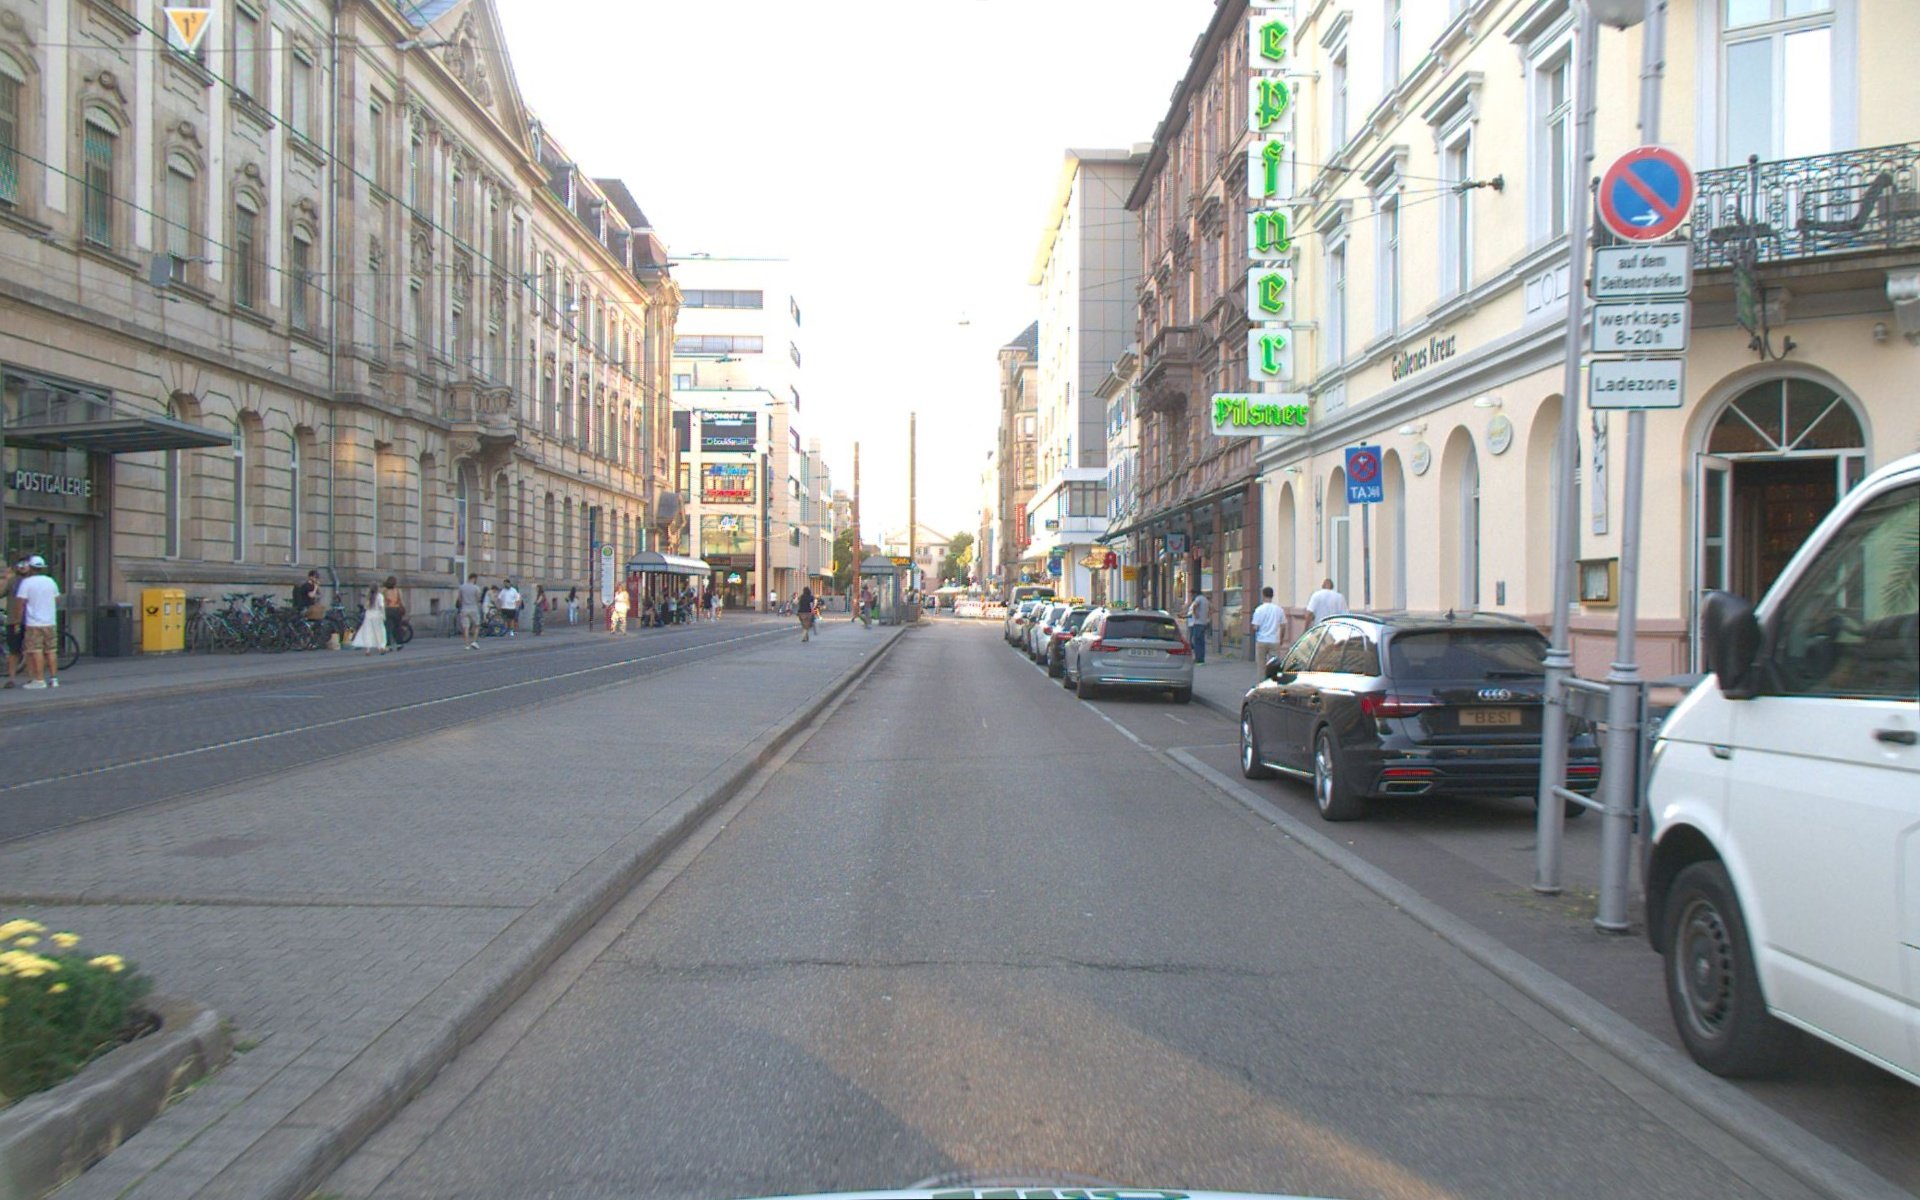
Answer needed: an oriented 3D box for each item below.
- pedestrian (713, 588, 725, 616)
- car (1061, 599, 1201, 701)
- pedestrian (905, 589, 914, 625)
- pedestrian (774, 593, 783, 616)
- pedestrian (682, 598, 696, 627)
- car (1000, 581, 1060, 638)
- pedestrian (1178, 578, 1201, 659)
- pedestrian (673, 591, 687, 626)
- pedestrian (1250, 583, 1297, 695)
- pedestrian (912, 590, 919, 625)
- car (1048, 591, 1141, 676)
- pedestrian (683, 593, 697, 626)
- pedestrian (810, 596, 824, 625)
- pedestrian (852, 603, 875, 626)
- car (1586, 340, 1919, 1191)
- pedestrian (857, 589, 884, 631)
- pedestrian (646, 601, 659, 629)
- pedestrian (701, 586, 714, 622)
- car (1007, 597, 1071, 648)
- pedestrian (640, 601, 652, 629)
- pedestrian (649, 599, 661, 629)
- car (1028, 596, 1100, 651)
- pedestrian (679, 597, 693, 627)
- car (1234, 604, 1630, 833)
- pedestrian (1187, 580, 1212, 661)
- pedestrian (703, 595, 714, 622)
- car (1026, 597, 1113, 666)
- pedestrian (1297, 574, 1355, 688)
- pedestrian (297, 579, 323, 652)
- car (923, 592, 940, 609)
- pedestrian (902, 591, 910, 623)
[{"bbox_3d":[-13.555,0.131,93.080,0.519,1.552,0.498,1,0,-26],"label":"pedestrian"},{"bbox_3d":[2.804,0.778,28.111,1.769,1.501,4.692,2,0,-1],"label":"car"},{"bbox_3d":[-2.536,0.365,83.074,0.404,1.798,0.594,1,-1,-3],"label":"pedestrian"},{"bbox_3d":[-15.593,0.388,142.062,0.560,1.887,0.817,1,-1,11],"label":"pedestrian"},{"bbox_3d":[-12.548,0.573,76.520,0.507,1.350,0.638,0,-1,3],"label":"pedestrian"},{"bbox_3d":[2.548,0.357,61.173,1.839,1.957,4.698,2,-1,-1],"label":"car"},{"bbox_3d":[5.202,0.418,37.503,0.365,1.799,0.455,-2,0,-5],"label":"pedestrian"},{"bbox_3d":[-13.470,0.415,79.670,0.507,1.674,0.638,0,-1,3],"label":"pedestrian"},{"bbox_3d":[4.949,0.610,26.130,0.606,1.718,0.486,-4,0,11],"label":"pedestrian"},{"bbox_3d":[-2.390,0.410,88.908,0.335,1.827,0.544,1,-1,-3],"label":"pedestrian"},{"bbox_3d":[2.803,0.692,35.197,1.697,1.618,4.443,2,-1,2],"label":"car"},{"bbox_3d":[-13.141,0.448,80.442,0.507,1.597,0.638,0,-1,3],"label":"pedestrian"},{"bbox_3d":[-9.235,0.687,106.711,0.684,1.847,0.853,1,-1,7],"label":"pedestrian"},{"bbox_3d":[-4.171,0.628,71.570,0.782,0.955,0.693,1,0,22],"label":"pedestrian"},{"bbox_3d":[3.282,0.404,3.594,1.814,2.103,5.214,0,0,-1],"label":"car"},{"bbox_3d":[-3.610,0.397,66.514,0.675,1.666,0.857,0,0,40],"label":"pedestrian"},{"bbox_3d":[-12.427,0.623,66.822,0.357,1.122,0.430,1,-1,5],"label":"pedestrian"},{"bbox_3d":[-12.734,0.210,83.408,0.548,1.807,0.468,1,0,-5],"label":"pedestrian"},{"bbox_3d":[2.562,0.715,54.630,1.769,1.509,4.777,3,0,-1],"label":"car"},{"bbox_3d":[-12.572,0.614,66.234,0.357,1.122,0.430,1,-1,5],"label":"pedestrian"},{"bbox_3d":[-12.480,0.560,67.668,0.357,1.221,0.430,1,-1,5],"label":"pedestrian"},{"bbox_3d":[3.043,0.690,49.199,1.691,1.503,4.819,2,-1,-1],"label":"car"},{"bbox_3d":[-12.535,0.566,75.752,0.507,1.350,0.638,0,-1,3],"label":"pedestrian"},{"bbox_3d":[3.369,0.767,12.747,1.662,1.414,4.546,-1,-1,-1],"label":"car"},{"bbox_3d":[5.347,0.455,36.987,0.365,1.799,0.663,-2,0,-4],"label":"pedestrian"},{"bbox_3d":[-14.048,0.476,92.488,0.510,1.552,0.499,1,0,-18],"label":"pedestrian"},{"bbox_3d":[2.654,0.763,41.159,1.697,1.537,4.864,3,-1,-1],"label":"car"},{"bbox_3d":[5.726,0.481,25.904,0.743,1.718,0.552,-4,0,10],"label":"pedestrian"},{"bbox_3d":[-15.074,0.364,38.352,0.357,1.662,0.430,1,-1,5],"label":"pedestrian"},{"bbox_3d":[-3.511,0.081,204.467,1.953,1.937,3.999,1,-1,-2],"label":"car"},{"bbox_3d":[-2.799,0.373,86.080,0.378,1.670,0.549,1,-1,-3],"label":"pedestrian"}]
